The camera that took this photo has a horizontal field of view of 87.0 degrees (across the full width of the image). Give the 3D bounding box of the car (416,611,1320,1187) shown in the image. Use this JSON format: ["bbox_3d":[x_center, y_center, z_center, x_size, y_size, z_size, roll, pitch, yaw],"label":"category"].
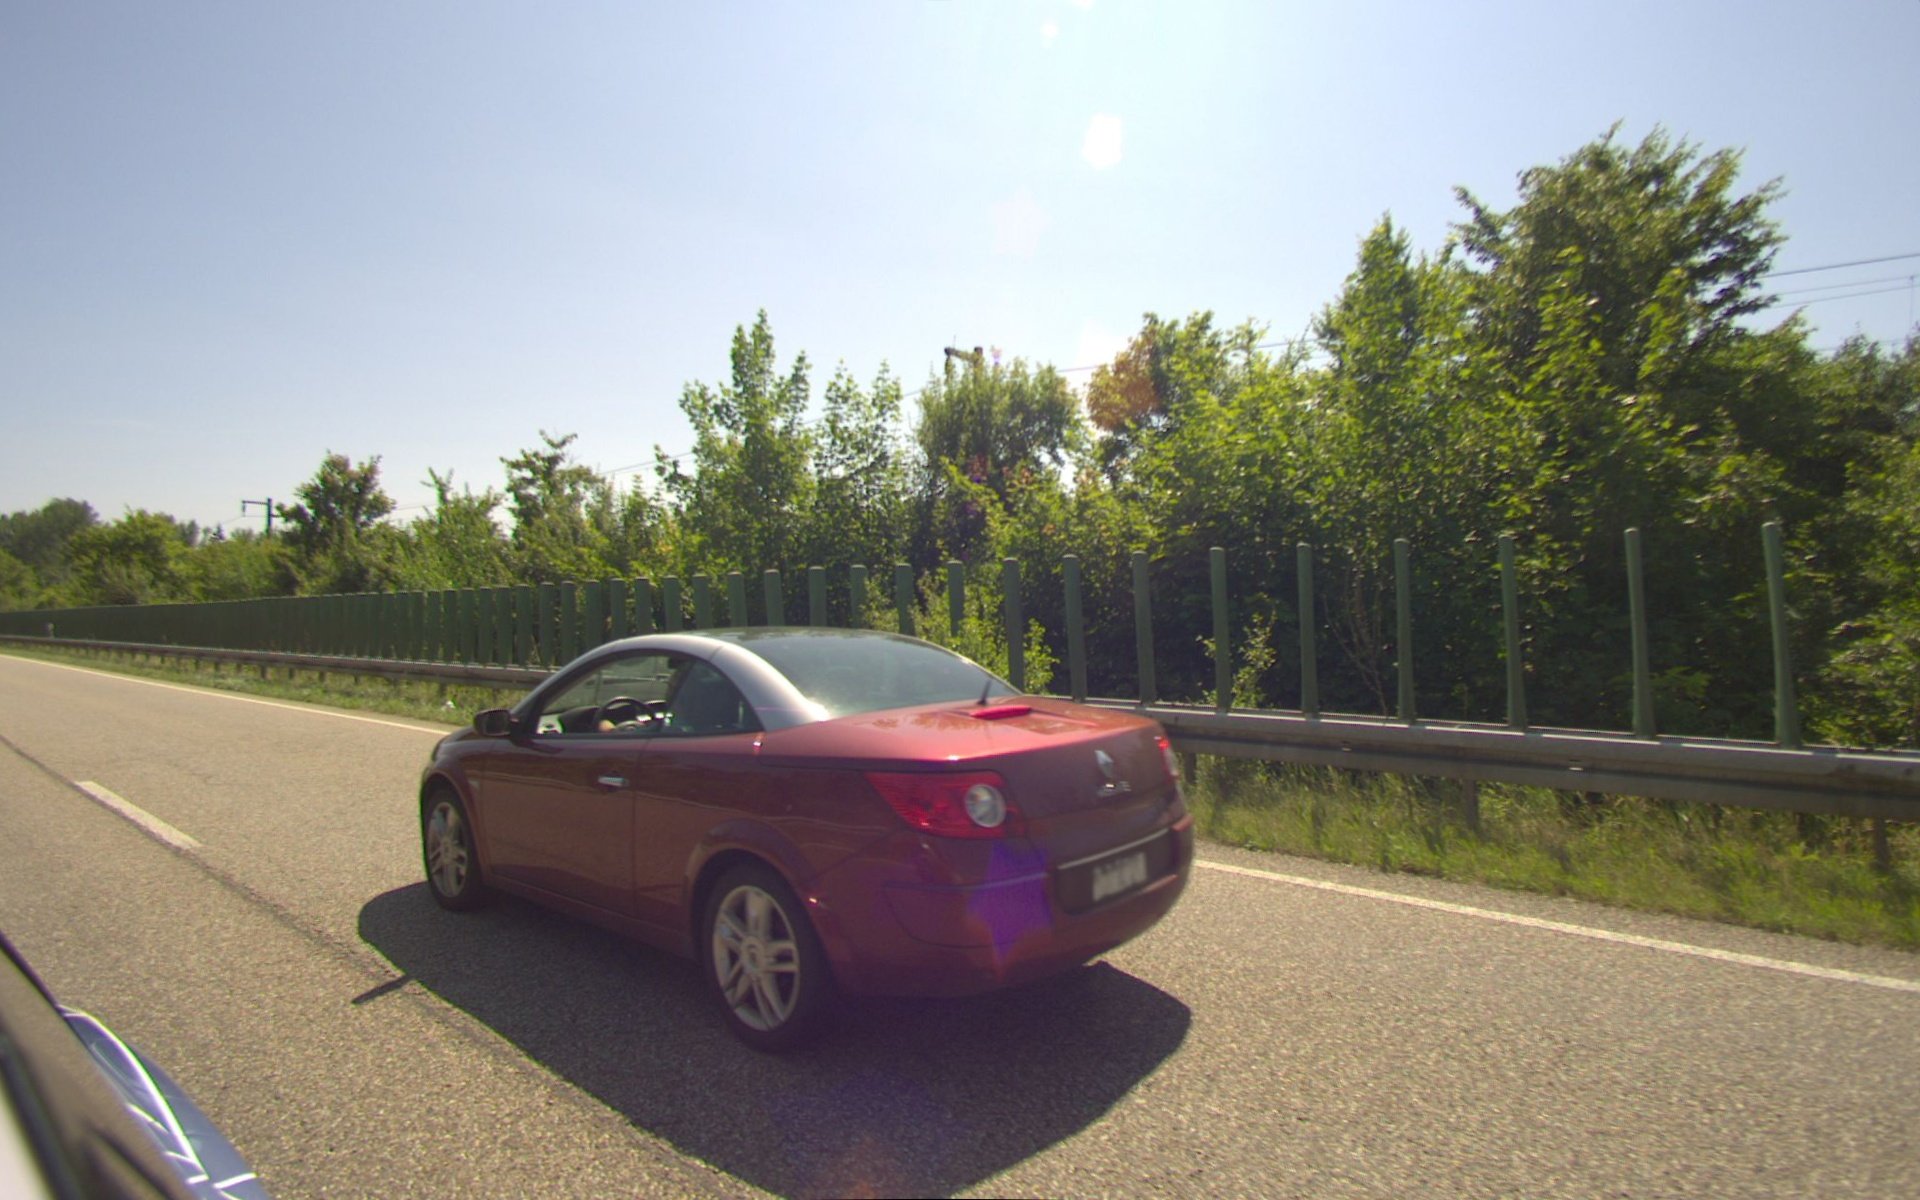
[{"bbox_3d":[-0.689,0.764,4.433,3.895,1.382,1.768,-1,-1,42],"label":"car"}]
